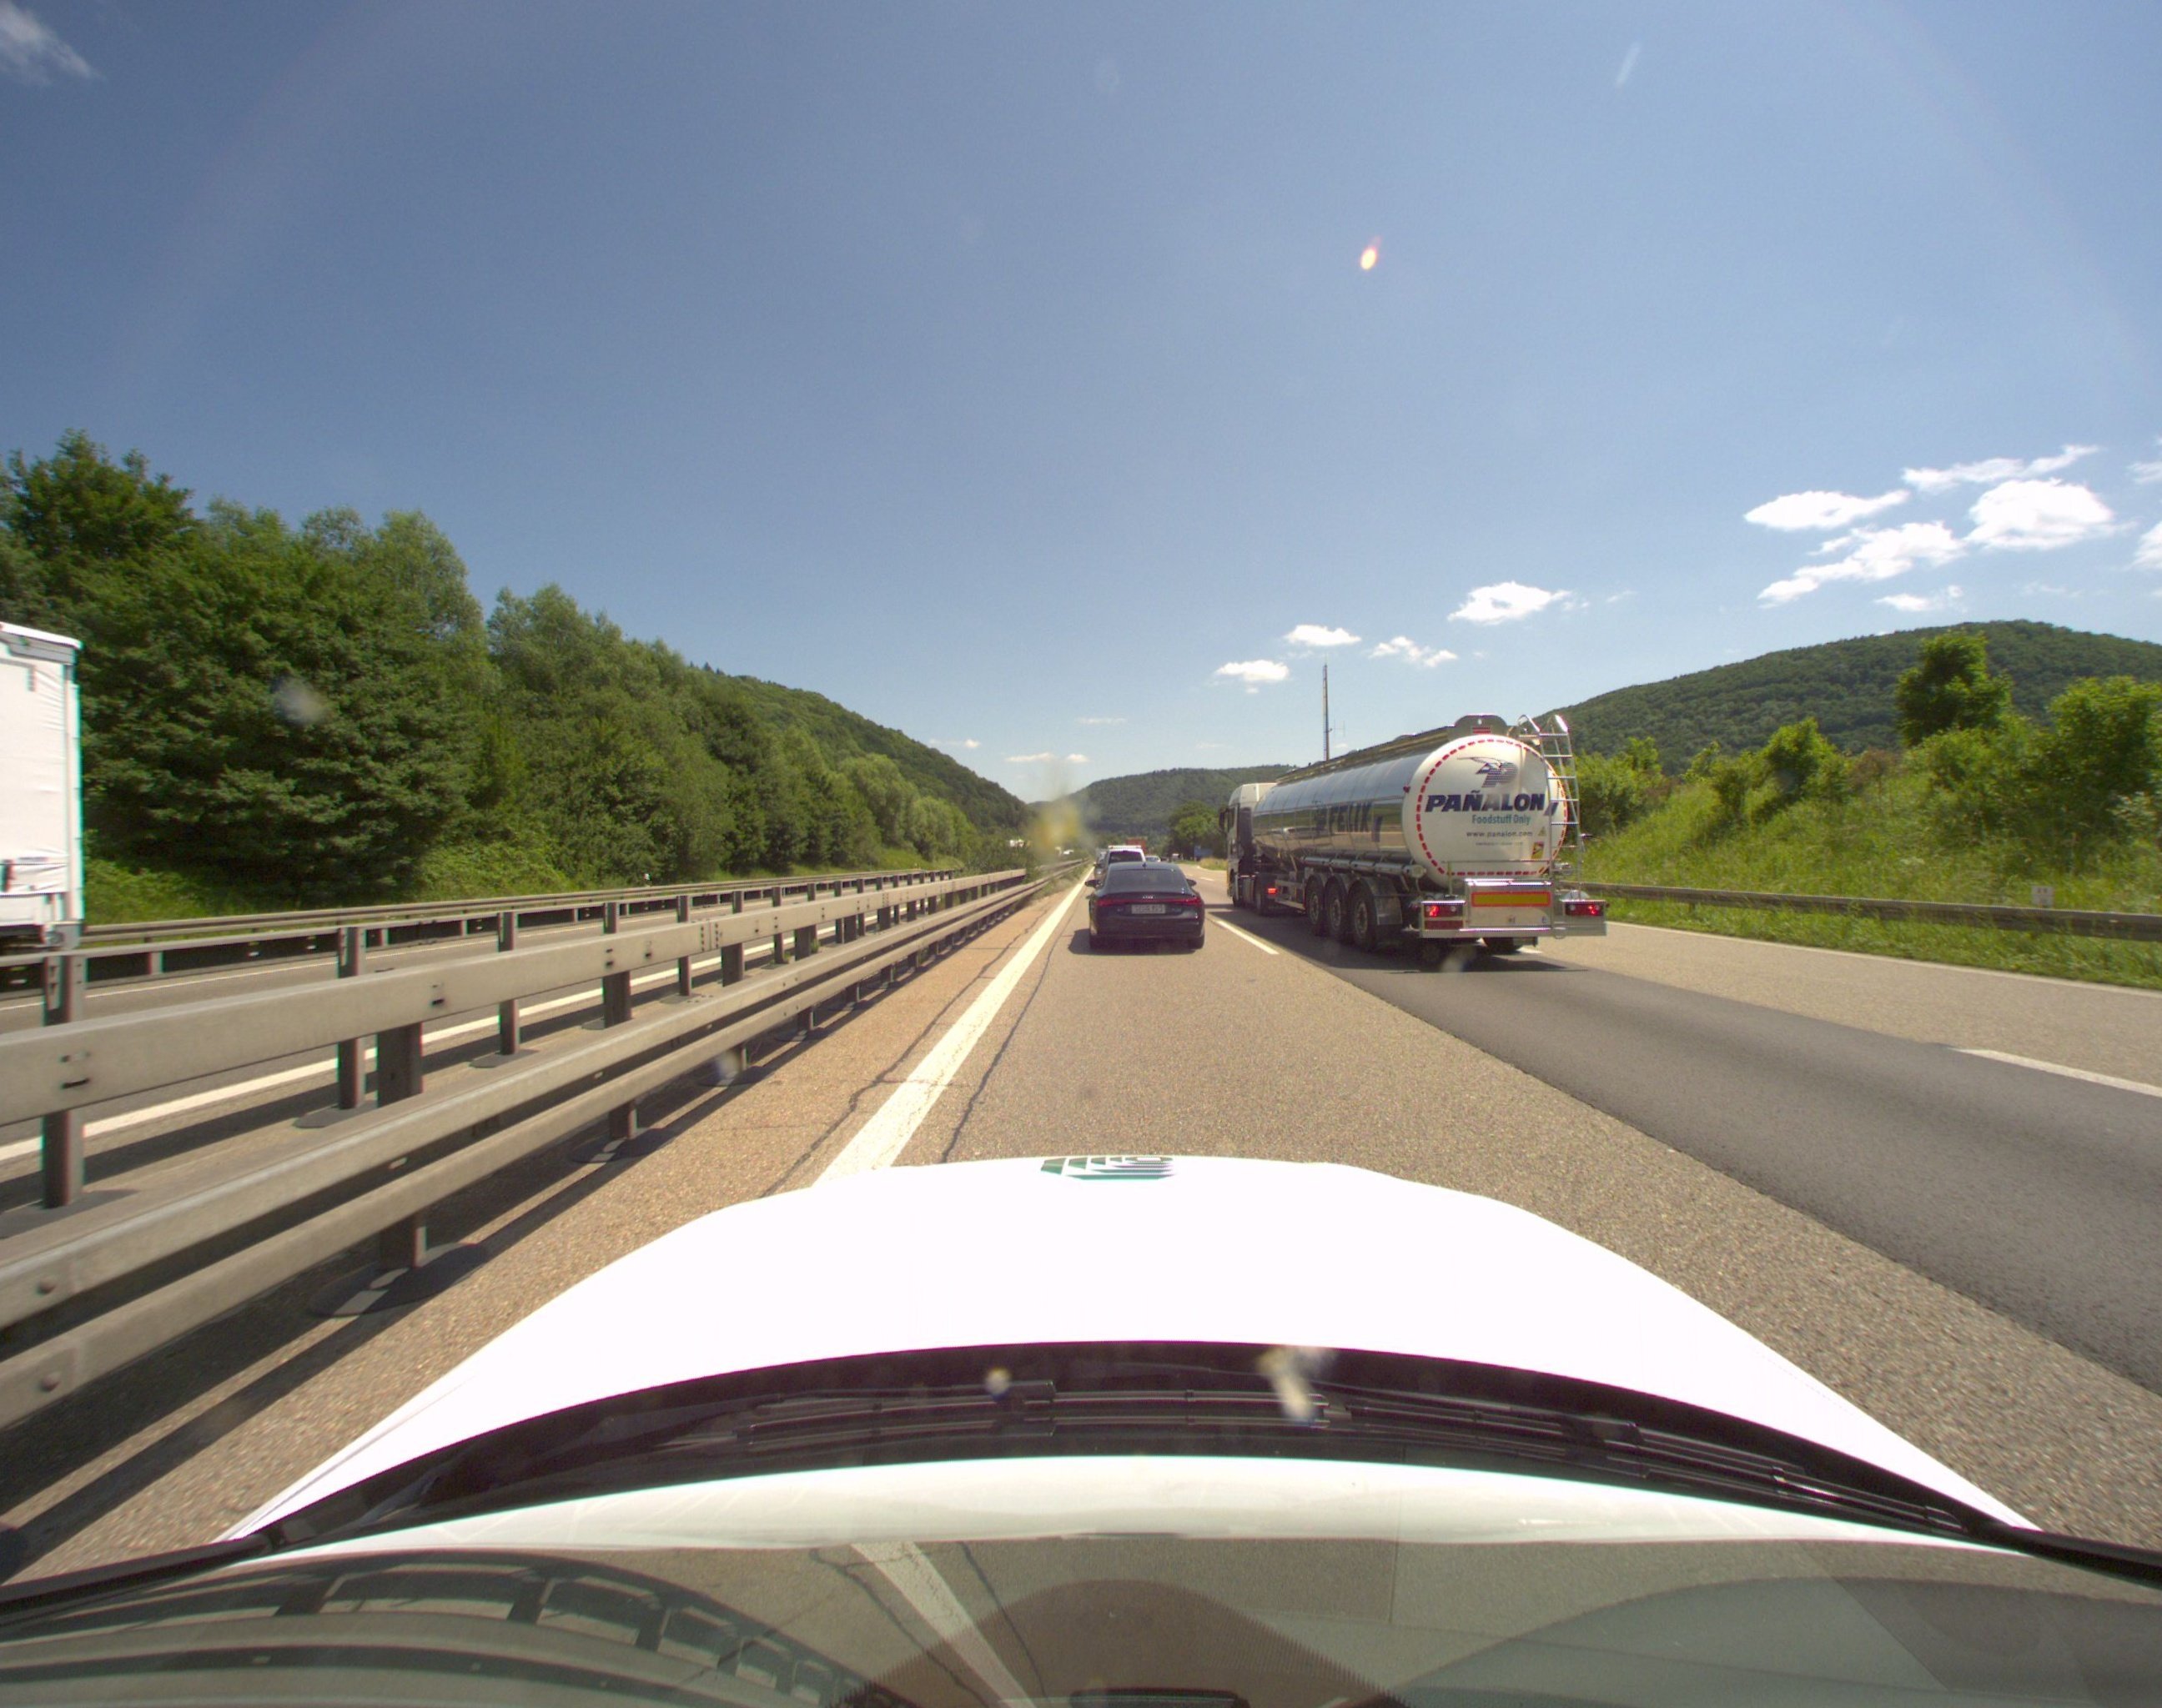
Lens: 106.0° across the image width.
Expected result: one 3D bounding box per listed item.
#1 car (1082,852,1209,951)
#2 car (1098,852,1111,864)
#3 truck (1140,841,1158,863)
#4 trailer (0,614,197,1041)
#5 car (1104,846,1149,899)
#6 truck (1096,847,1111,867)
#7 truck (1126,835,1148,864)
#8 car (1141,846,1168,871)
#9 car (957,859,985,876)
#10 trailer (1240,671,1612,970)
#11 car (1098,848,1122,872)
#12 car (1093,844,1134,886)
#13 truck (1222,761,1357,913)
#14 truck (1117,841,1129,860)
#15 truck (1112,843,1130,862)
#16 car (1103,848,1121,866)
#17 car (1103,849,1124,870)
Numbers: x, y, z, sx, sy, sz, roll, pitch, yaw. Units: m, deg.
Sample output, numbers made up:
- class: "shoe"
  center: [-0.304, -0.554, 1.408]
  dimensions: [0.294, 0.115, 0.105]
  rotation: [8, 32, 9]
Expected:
- class: "car"
  center: [0.986, 0.724, 14.412]
  dimensions: [1.844, 1.488, 4.081]
  rotation: [-1, 0, -1]
- class: "car"
  center: [3.317, 0.569, 116.040]
  dimensions: [1.705, 1.618, 4.003]
  rotation: [-2, 0, 3]
- class: "truck"
  center: [13.068, -0.344, 157.224]
  dimensions: [2.806, 4.003, 14.964]
  rotation: [-1, 0, 2]
- class: "trailer"
  center: [-11.816, -0.227, 3.807]
  dimensions: [2.846, 4.076, 11.265]
  rotation: [-2, 0, 1]
- class: "car"
  center: [1.649, 0.641, 30.589]
  dimensions: [1.570, 1.833, 4.001]
  rotation: [-1, 0, 1]
- class: "truck"
  center: [4.183, 0.558, 148.218]
  dimensions: [2.618, 3.440, 11.426]
  rotation: [-1, 0, 2]
- class: "truck"
  center: [8.114, -0.590, 119.948]
  dimensions: [2.806, 4.003, 14.964]
  rotation: [-1, 0, 2]
- class: "car"
  center: [6.303, 0.404, 70.108]
  dimensions: [1.986, 2.013, 4.001]
  rotation: [-1, 0, 1]
- class: "car"
  center: [-10.411, 1.235, 77.136]
  dimensions: [1.862, 1.420, 4.435]
  rotation: [-2, 0, 2]
- class: "trailer"
  center: [5.511, -0.415, 16.201]
  dimensions: [2.529, 3.735, 11.893]
  rotation: [-1, 0, 1]
- class: "car"
  center: [2.550, 0.526, 72.888]
  dimensions: [1.986, 2.013, 4.001]
  rotation: [-1, 0, 1]
- class: "car"
  center: [1.628, 0.534, 41.527]
  dimensions: [1.986, 2.013, 4.001]
  rotation: [-1, 0, 1]
- class: "truck"
  center: [5.641, -0.427, 22.898]
  dimensions: [2.503, 3.758, 5.246]
  rotation: [-1, 0, 1]
- class: "truck"
  center: [7.770, -0.622, 150.878]
  dimensions: [1.986, 3.447, 11.816]
  rotation: [-1, 0, 2]
- class: "truck"
  center: [10.229, -0.346, 208.291]
  dimensions: [3.775, 4.414, 14.978]
  rotation: [-2, 0, 6]
- class: "car"
  center: [3.066, 0.293, 79.257]
  dimensions: [1.705, 1.618, 4.003]
  rotation: [-2, 0, 3]
- class: "car"
  center: [3.295, 0.522, 82.487]
  dimensions: [1.986, 2.013, 4.001]
  rotation: [-1, 0, 1]
